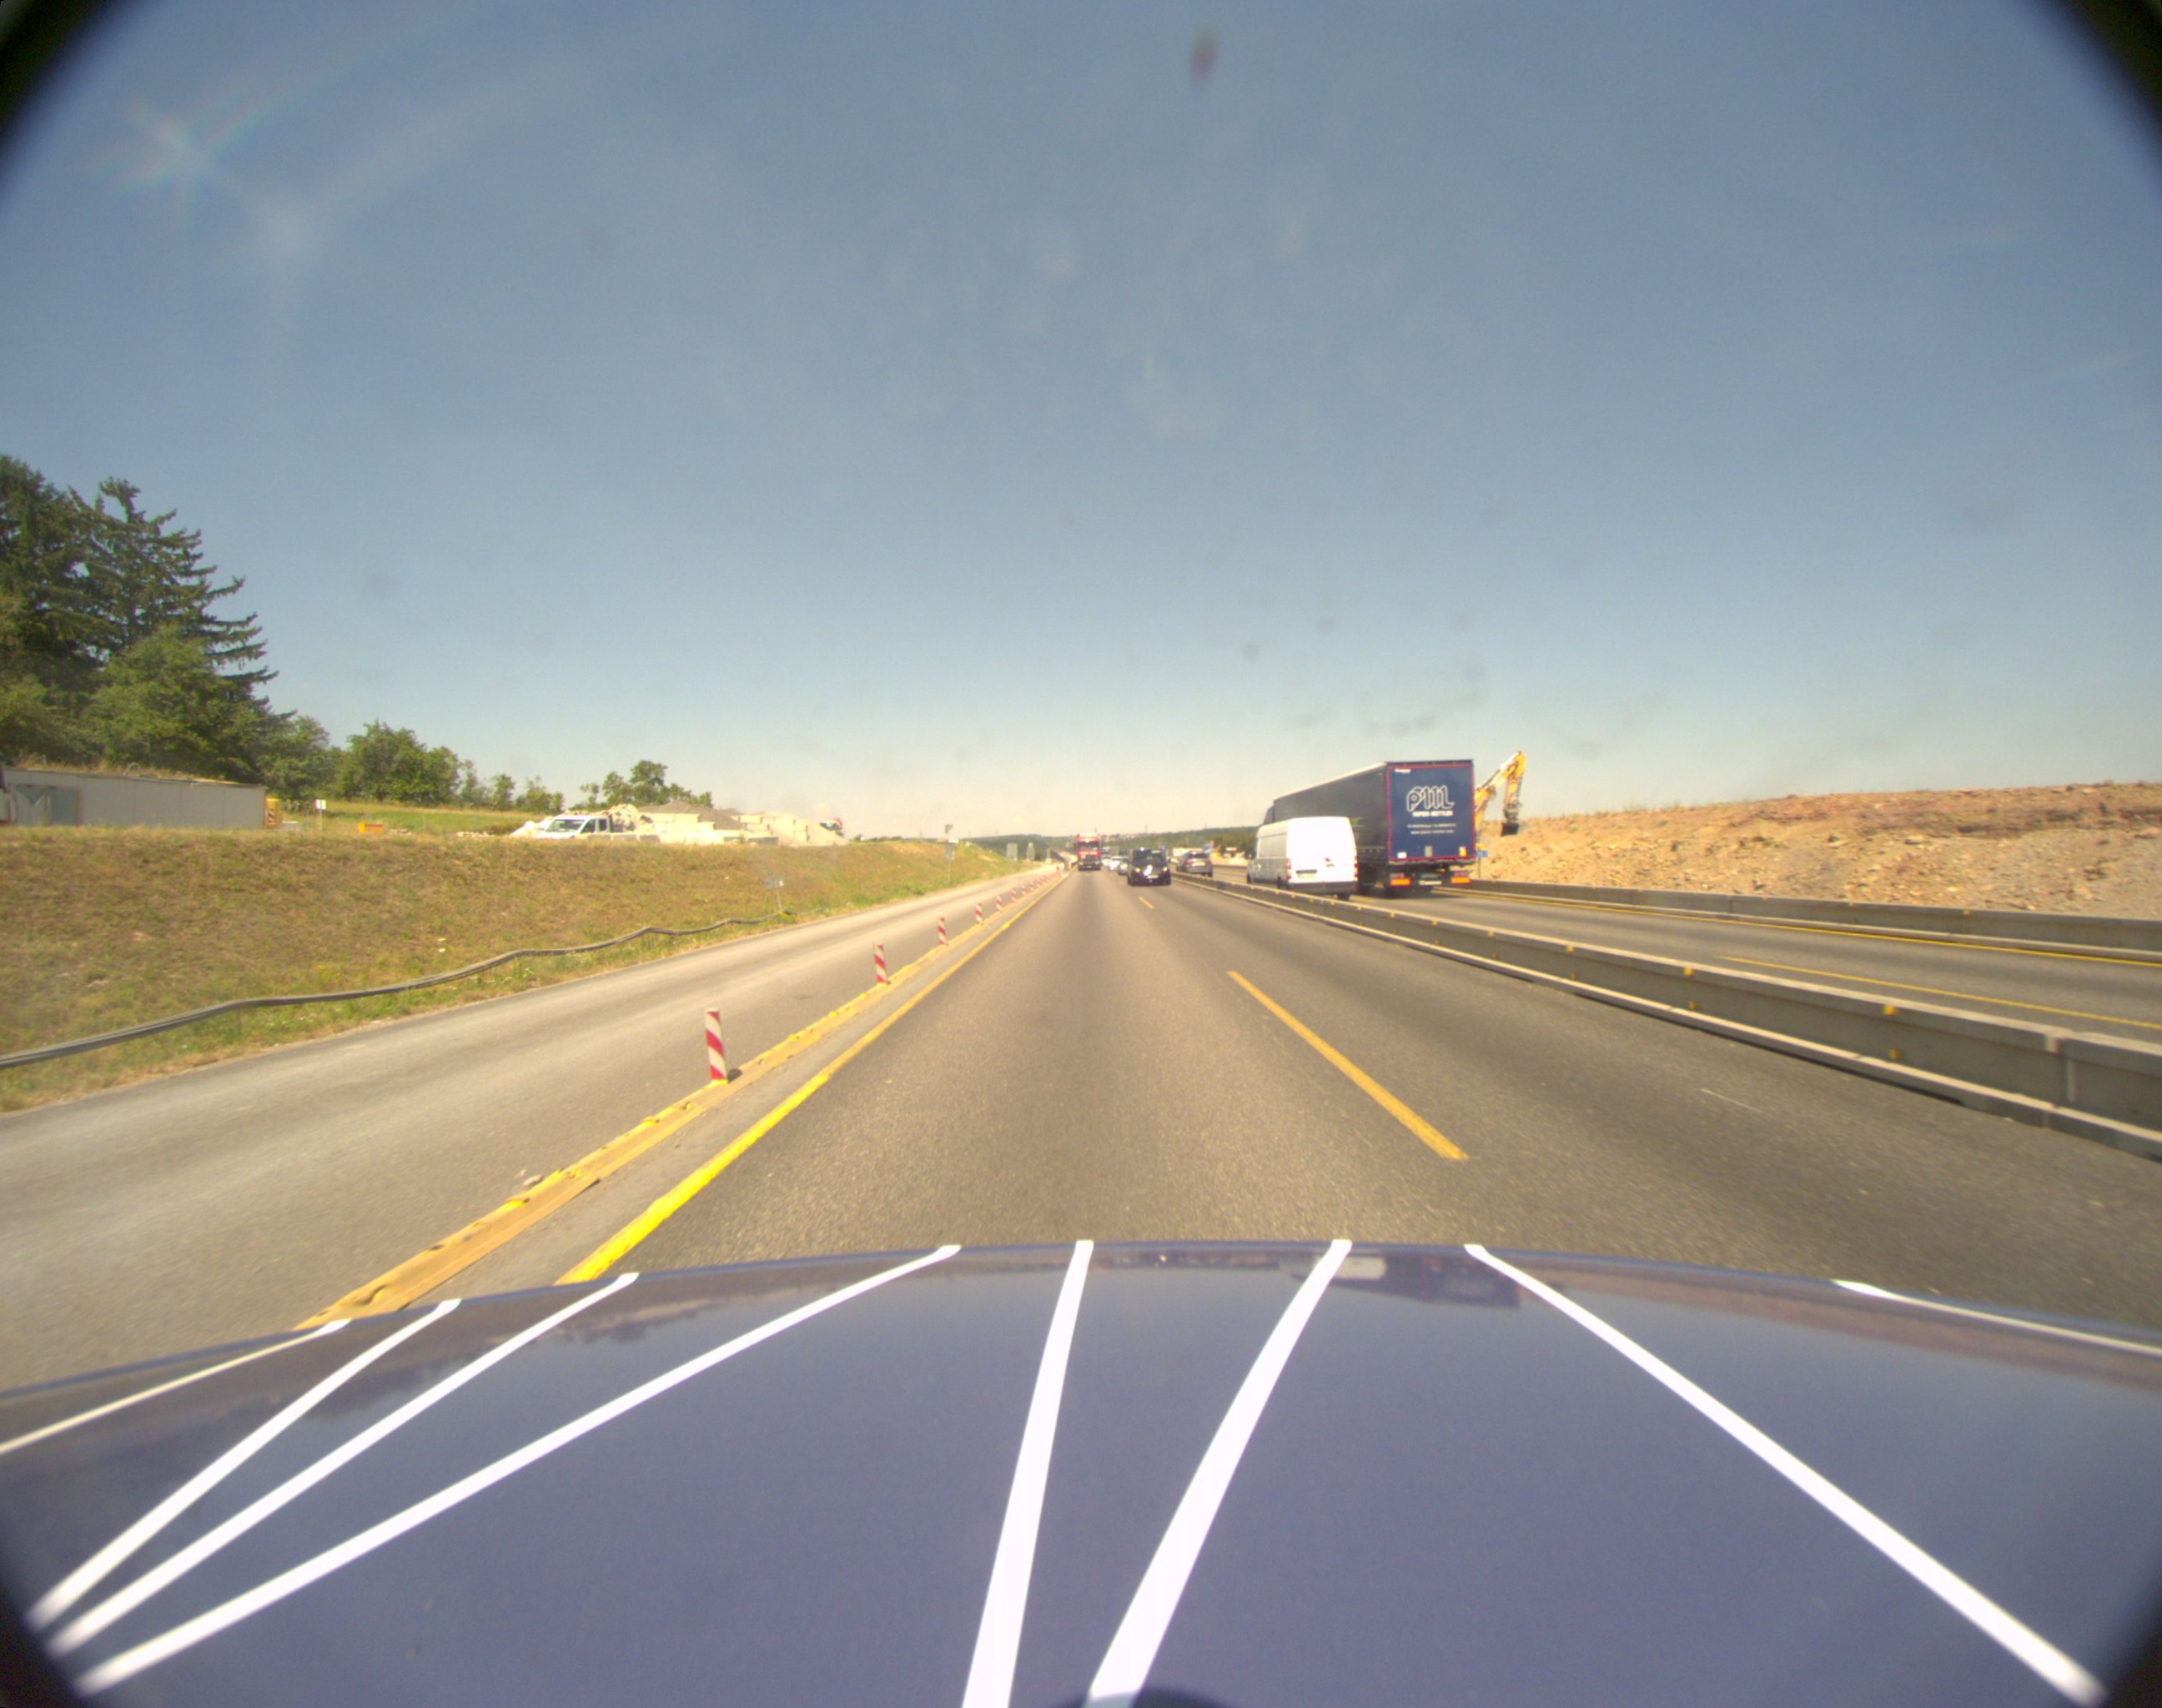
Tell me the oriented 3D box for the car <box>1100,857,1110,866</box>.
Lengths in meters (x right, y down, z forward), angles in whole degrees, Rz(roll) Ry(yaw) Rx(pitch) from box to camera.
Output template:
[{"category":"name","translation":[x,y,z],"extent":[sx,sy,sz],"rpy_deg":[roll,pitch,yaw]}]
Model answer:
[{"category":"car","translation":[3.859,1.222,122.894],"extent":[1.601,1.390,3.695],"rpy_deg":[-2,1,2]}]

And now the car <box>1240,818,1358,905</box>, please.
[{"category":"car","translation":[6.747,0.227,24.363],"extent":[2.040,2.329,6.196],"rpy_deg":[-2,0,1]}]

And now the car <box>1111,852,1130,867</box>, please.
[{"category":"car","translation":[4.040,0.526,78.603],"extent":[1.875,1.390,4.030],"rpy_deg":[-2,1,2]}]

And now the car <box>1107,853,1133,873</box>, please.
[{"category":"car","translation":[3.009,0.693,59.790],"extent":[1.804,1.499,4.100],"rpy_deg":[-2,0,1]}]

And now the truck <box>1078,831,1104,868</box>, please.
[{"category":"truck","translation":[1.135,-0.529,83.565],"extent":[2.537,3.798,9.481],"rpy_deg":[-2,1,2]}]

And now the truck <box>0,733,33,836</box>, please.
[{"category":"truck","translation":[-28.147,-1.702,17.551],"extent":[2.021,2.530,4.041],"rpy_deg":[-2,1,4]}]

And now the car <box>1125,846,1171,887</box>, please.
[{"category":"car","translation":[3.313,0.558,38.664],"extent":[1.878,1.840,5.478],"rpy_deg":[-2,1,1]}]

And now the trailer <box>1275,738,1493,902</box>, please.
[{"category":"trailer","translation":[10.326,-1.048,28.178],"extent":[2.993,4.569,12.882],"rpy_deg":[-2,1,1]}]

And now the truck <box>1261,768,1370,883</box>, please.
[{"category":"truck","translation":[10.432,-1.212,34.527],"extent":[2.972,4.625,6.243],"rpy_deg":[-2,1,1]}]

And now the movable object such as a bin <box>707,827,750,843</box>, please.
[{"category":"movable object such as a bin","translation":[-15.853,-0.839,34.267],"extent":[0.838,0.678,2.249],"rpy_deg":[-2,1,1]}]

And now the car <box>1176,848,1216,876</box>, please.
[{"category":"car","translation":[7.267,0.486,48.456],"extent":[1.873,1.620,4.885],"rpy_deg":[-2,1,1]}]

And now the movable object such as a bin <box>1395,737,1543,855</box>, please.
[{"category":"movable object such as a bin","translation":[25.085,-3.638,49.538],"extent":[7.378,7.073,4.081],"rpy_deg":[-2,1,1]}]

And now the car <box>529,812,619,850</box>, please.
[{"category":"car","translation":[-25.338,-1.135,38.159],"extent":[1.990,1.752,3.601],"rpy_deg":[-2,1,1]}]

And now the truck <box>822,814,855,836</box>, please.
[{"category":"truck","translation":[-35.602,-4.232,111.753],"extent":[2.223,2.803,9.061],"rpy_deg":[-2,1,-2]}]
